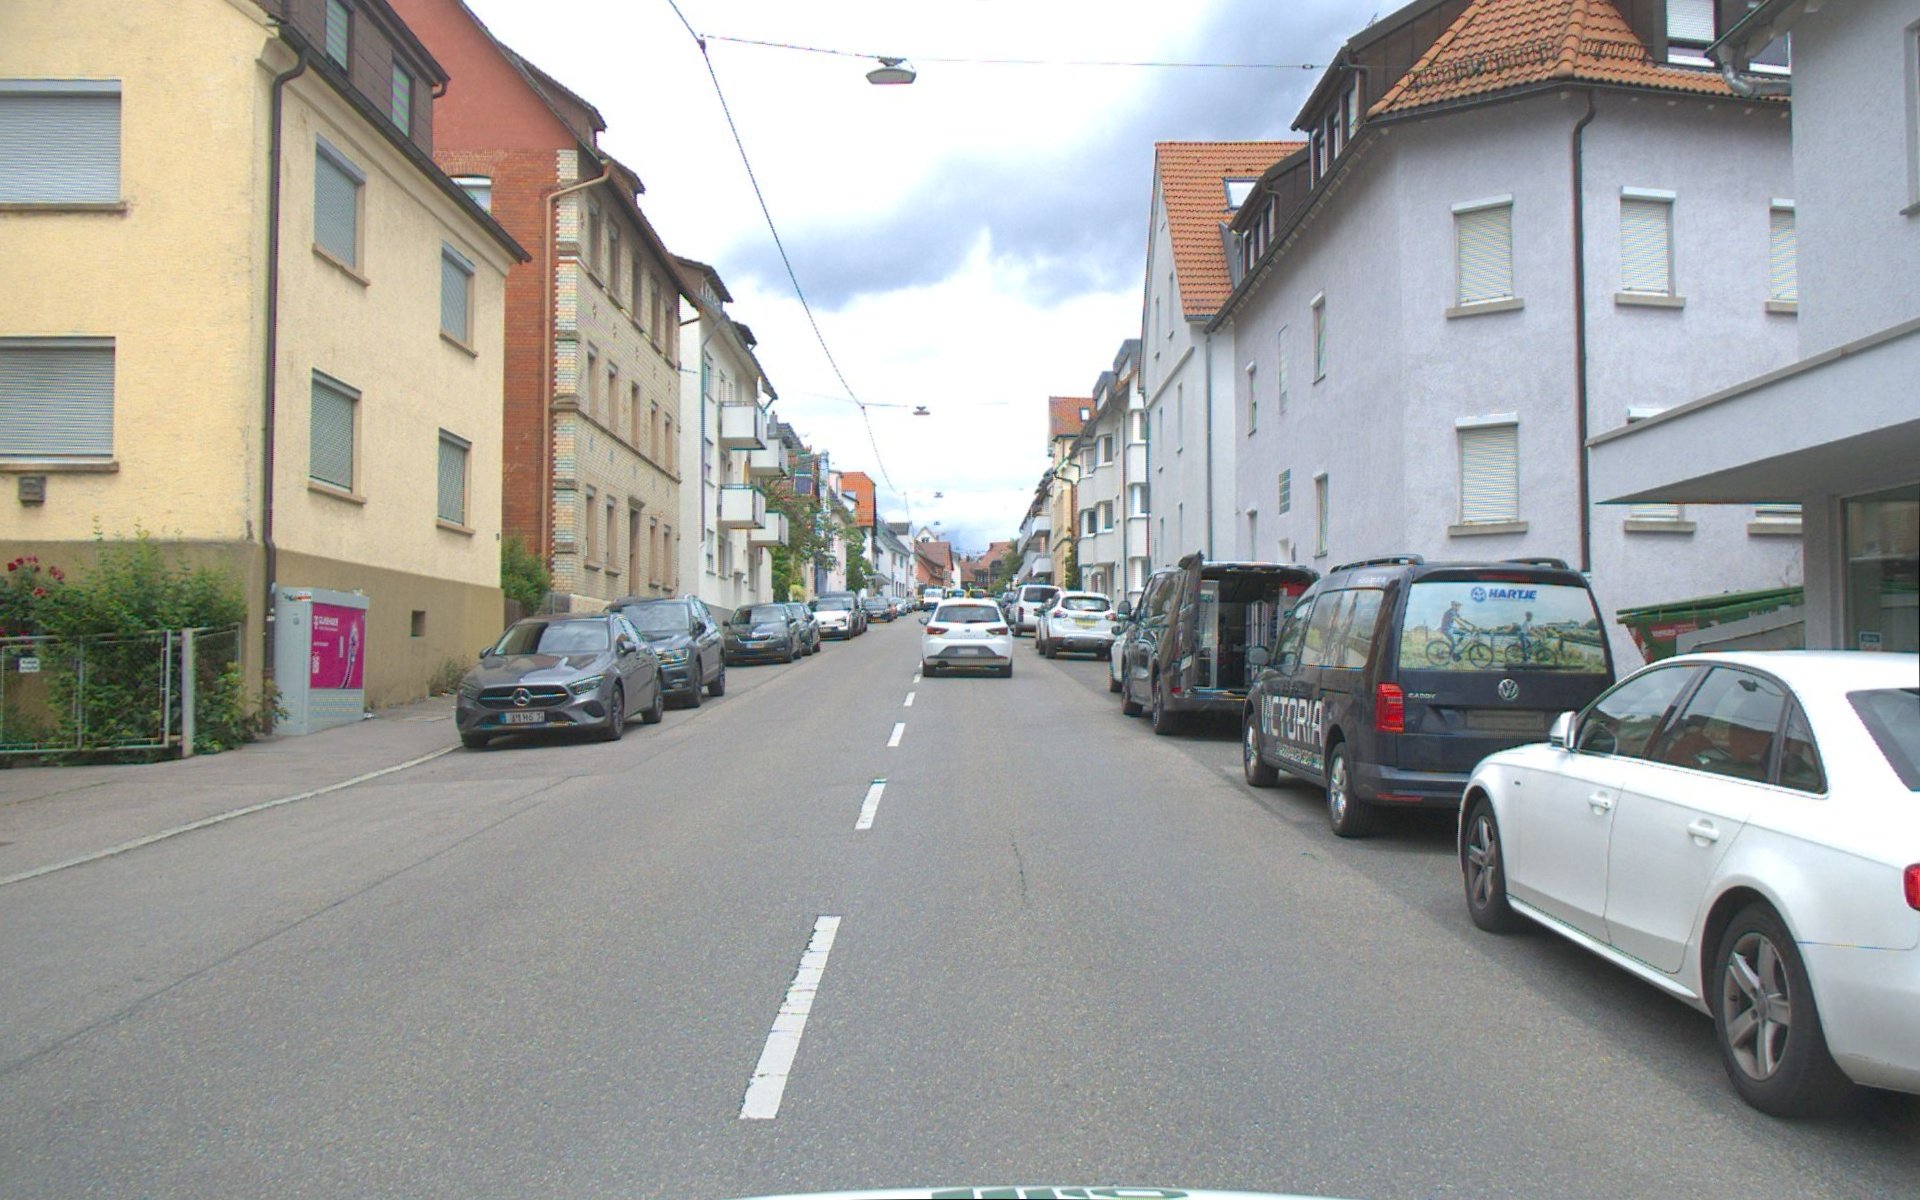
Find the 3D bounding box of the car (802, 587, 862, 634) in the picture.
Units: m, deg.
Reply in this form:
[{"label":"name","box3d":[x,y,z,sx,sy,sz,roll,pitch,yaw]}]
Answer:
[{"label":"car","box3d":[-4.738,0.350,61.755,1.953,1.680,4.000,0,0,0]}]

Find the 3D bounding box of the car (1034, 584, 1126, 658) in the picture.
[{"label":"car","box3d":[3.024,0.497,42.463,1.901,1.722,3.999,2,0,-2]}]

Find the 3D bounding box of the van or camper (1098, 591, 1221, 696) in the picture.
[{"label":"van or camper","box3d":[3.234,0.662,27.470,1.569,1.570,4.000,2,0,1]}]

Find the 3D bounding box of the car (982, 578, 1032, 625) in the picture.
[{"label":"car","box3d":[2.107,0.063,75.214,1.954,2.049,3.997,-1,0,-3]}]

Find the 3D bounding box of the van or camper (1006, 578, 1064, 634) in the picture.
[{"label":"van or camper","box3d":[2.888,0.205,64.643,1.902,2.090,4.561,0,0,-2]}]

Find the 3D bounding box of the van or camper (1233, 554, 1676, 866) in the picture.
[{"label":"van or camper","box3d":[3.425,0.661,12.484,1.833,1.860,4.679,2,0,-1]}]

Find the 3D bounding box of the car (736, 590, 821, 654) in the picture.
[{"label":"car","box3d":[-5.030,0.578,46.349,1.953,1.680,4.000,0,0,0]}]

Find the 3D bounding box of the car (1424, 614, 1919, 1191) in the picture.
[{"label":"car","box3d":[3.339,0.831,6.435,1.679,1.461,4.638,1,0,-1]}]

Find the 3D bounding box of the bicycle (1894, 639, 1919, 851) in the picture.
[{"label":"bicycle","box3d":[6.008,0.839,10.086,0.428,1.133,1.725,-1,0,26]}]

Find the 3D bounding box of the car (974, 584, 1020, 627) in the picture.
[{"label":"car","box3d":[1.782,0.249,81.620,1.954,2.049,3.997,-1,0,-3]}]

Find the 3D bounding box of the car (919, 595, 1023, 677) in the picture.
[{"label":"car","box3d":[0.214,0.654,32.286,1.901,1.464,4.000,0,0,0]}]

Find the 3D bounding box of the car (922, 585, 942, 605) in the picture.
[{"label":"car","box3d":[-2.923,-0.557,172.220,1.953,2.049,4.000,-1,0,0]}]

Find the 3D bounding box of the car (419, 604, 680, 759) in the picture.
[{"label":"car","box3d":[-4.788,0.885,19.966,1.953,1.498,4.244,-3,0,1]}]

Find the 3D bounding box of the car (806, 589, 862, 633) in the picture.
[{"label":"car","box3d":[-5.052,0.414,66.836,1.953,1.680,4.000,0,0,0]}]

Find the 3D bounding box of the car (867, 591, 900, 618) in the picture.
[{"label":"car","box3d":[-4.861,0.269,105.381,1.953,1.680,4.178,0,0,0]}]

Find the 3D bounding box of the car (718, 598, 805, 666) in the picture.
[{"label":"car","box3d":[-4.869,0.749,41.007,1.609,1.499,4.178,-3,0,0]}]

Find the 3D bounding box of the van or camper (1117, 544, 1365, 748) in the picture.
[{"label":"van or camper","box3d":[3.222,0.469,20.287,1.953,2.102,5.944,1,0,-1]}]

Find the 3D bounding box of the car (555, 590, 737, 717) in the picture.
[{"label":"car","box3d":[-4.736,0.738,25.612,1.953,1.679,4.552,-3,0,-1]}]

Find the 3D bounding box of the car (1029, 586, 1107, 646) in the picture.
[{"label":"car","box3d":[3.187,0.445,49.310,1.902,1.722,3.998,0,0,-2]}]
